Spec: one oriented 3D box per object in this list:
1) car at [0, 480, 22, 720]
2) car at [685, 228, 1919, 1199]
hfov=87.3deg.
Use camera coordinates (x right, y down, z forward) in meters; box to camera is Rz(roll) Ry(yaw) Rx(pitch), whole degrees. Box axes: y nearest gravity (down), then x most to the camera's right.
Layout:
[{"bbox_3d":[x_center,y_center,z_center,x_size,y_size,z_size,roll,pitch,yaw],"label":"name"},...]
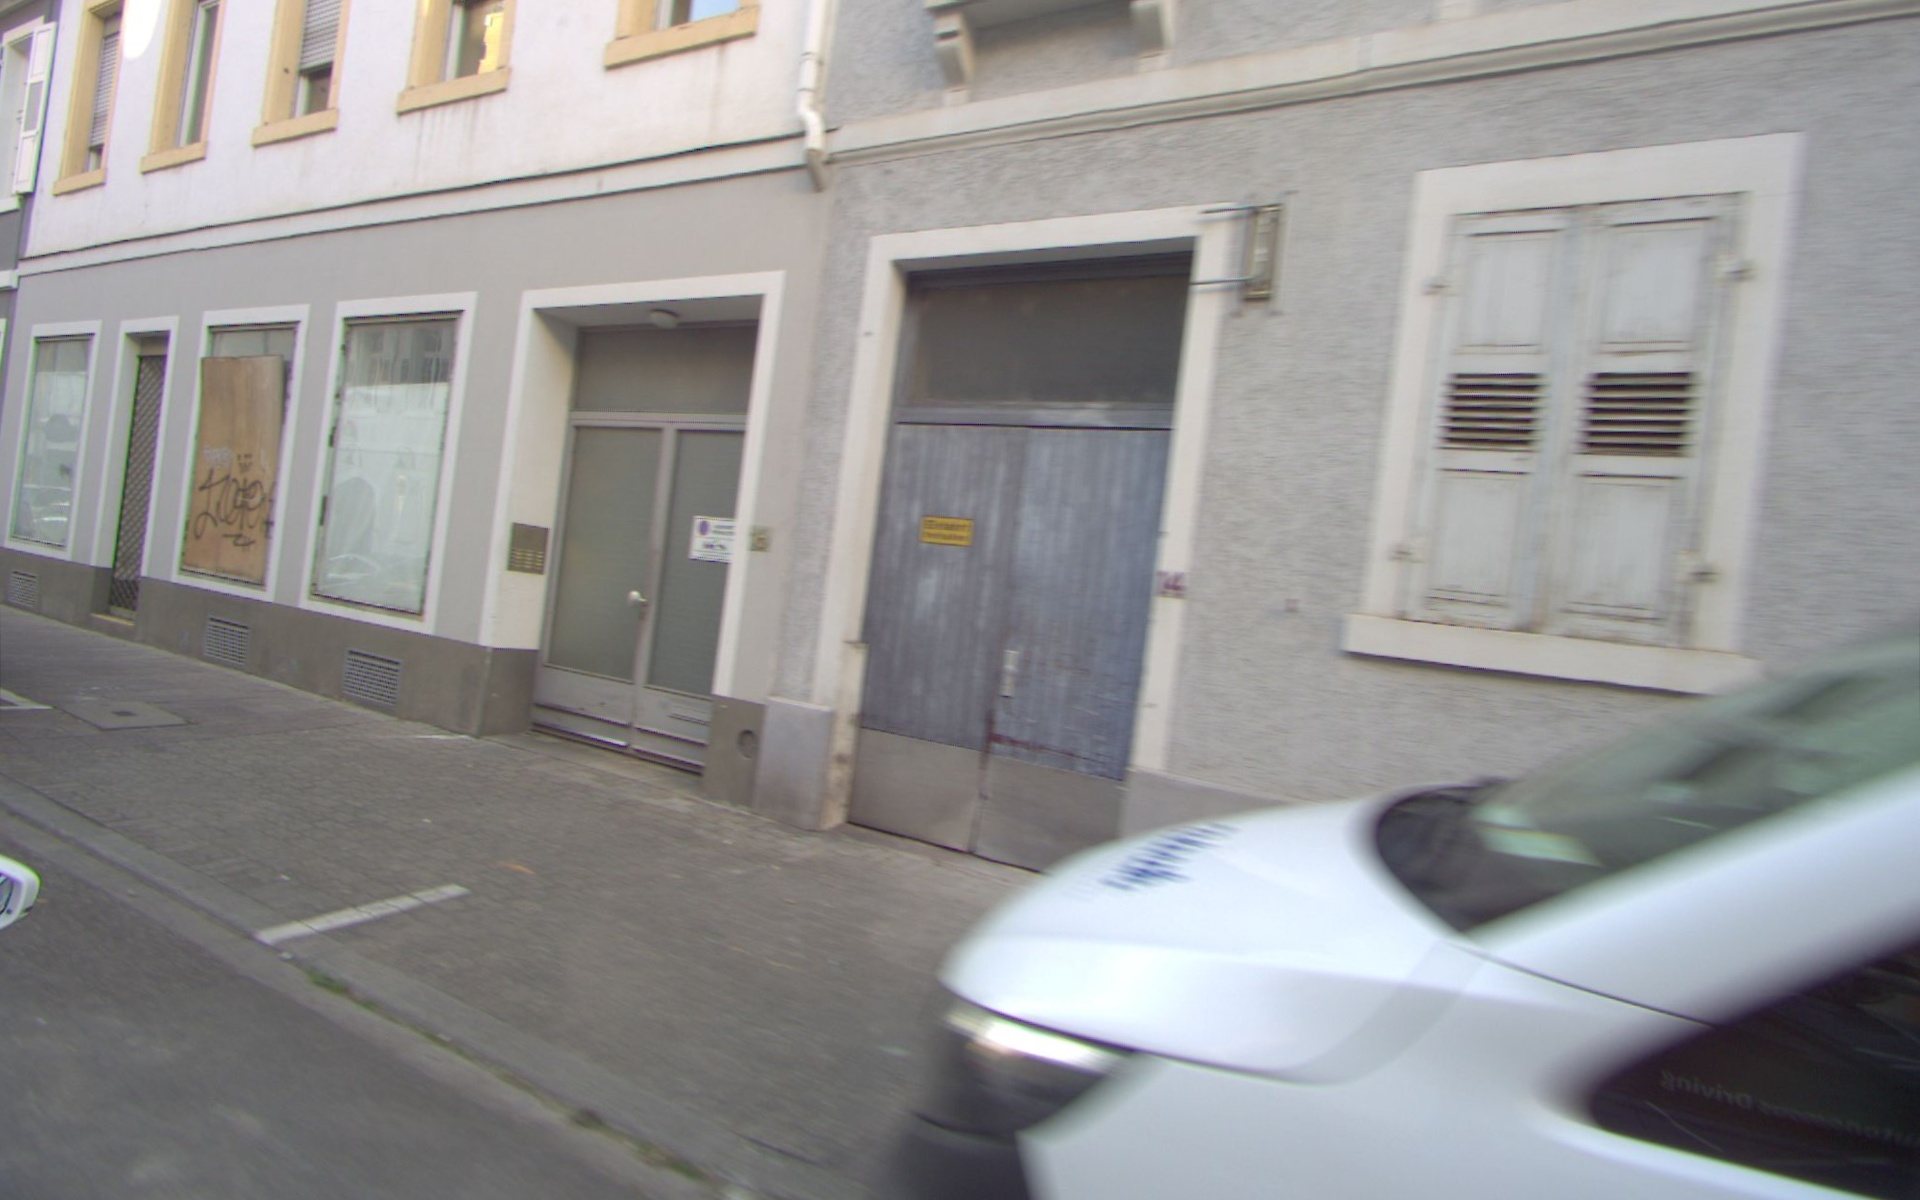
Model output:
[{"bbox_3d":[-8.714,-0.257,7.065,4.987,1.550,1.820,7,2,31],"label":"car"},{"bbox_3d":[2.356,0.824,0.988,5.227,1.920,1.942,7,3,30],"label":"car"}]
